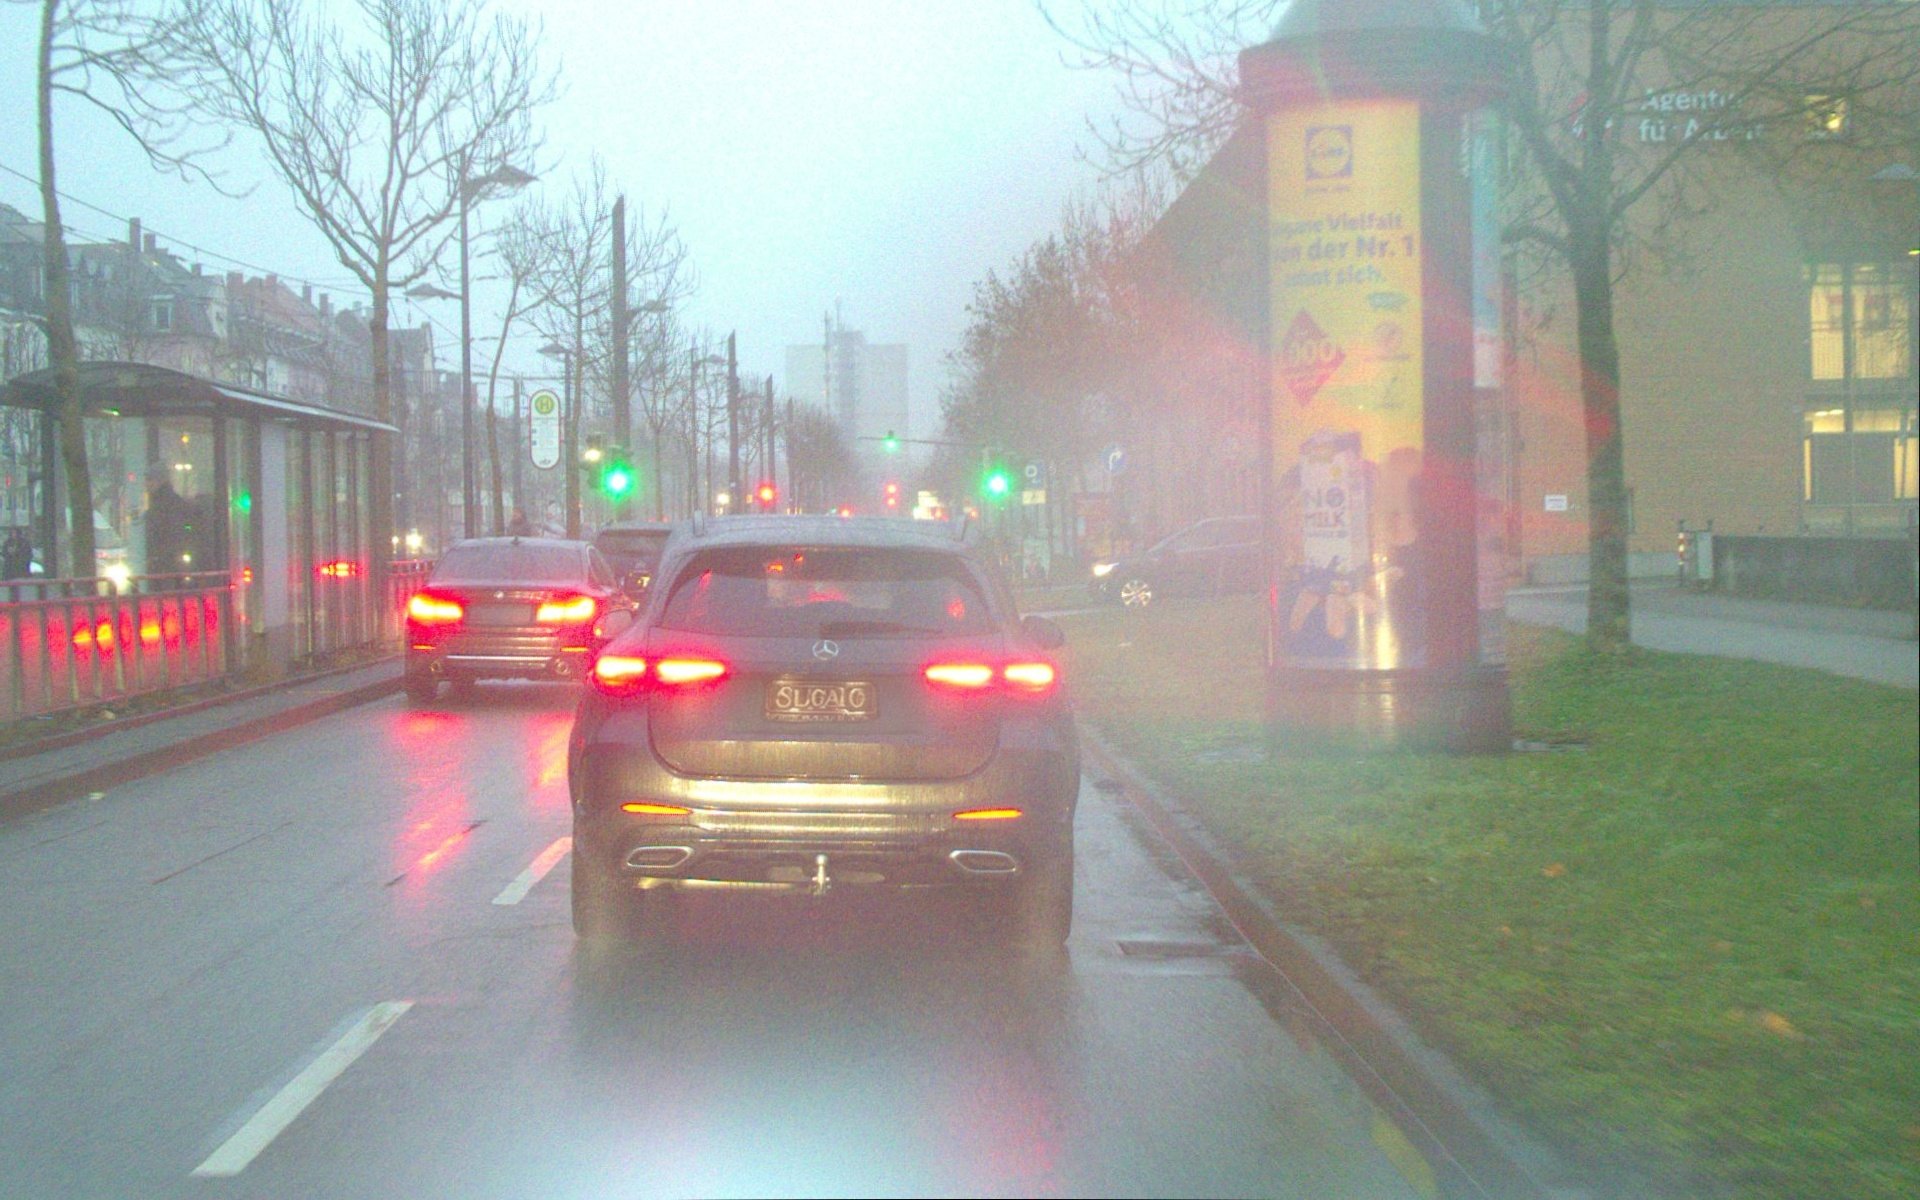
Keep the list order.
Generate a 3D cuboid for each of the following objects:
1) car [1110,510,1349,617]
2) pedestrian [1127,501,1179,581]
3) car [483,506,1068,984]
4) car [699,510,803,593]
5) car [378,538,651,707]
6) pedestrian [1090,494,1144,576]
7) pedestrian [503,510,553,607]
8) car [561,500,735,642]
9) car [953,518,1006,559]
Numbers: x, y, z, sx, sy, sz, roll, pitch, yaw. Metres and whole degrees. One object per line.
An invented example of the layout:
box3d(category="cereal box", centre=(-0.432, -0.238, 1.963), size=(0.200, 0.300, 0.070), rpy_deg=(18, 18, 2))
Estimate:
box3d(category="car", centre=(4.552, -0.638, 58.454), size=(3.860, 1.555, 1.765), rpy_deg=(-4, 1, 1))
box3d(category="pedestrian", centre=(3.933, -1.199, 69.969), size=(0.903, 1.590, 0.501), rpy_deg=(-1, 1, 41))
box3d(category="car", centre=(-0.683, 0.455, 13.933), size=(1.991, 1.610, 4.000), rpy_deg=(-1, 1, -1))
box3d(category="car", centre=(-4.290, -1.020, 71.077), size=(1.993, 1.612, 4.001), rpy_deg=(-1, 1, -1))
box3d(category="car", centre=(-4.036, 0.158, 31.747), size=(1.993, 1.393, 4.000), rpy_deg=(-1, 1, 0))
box3d(category="pedestrian", centre=(3.097, -1.275, 67.795), size=(0.903, 1.590, 0.501), rpy_deg=(-1, 1, 41))
box3d(category="pedestrian", centre=(-6.991, -0.677, 55.683), size=(0.698, 1.547, 0.669), rpy_deg=(-2, 1, -1))
box3d(category="car", centre=(-4.106, -0.417, 45.790), size=(1.993, 1.759, 4.000), rpy_deg=(-1, 1, -1))
box3d(category="car", centre=(0.782, -2.523, 141.434), size=(1.993, 1.593, 4.000), rpy_deg=(-2, 1, -1))
